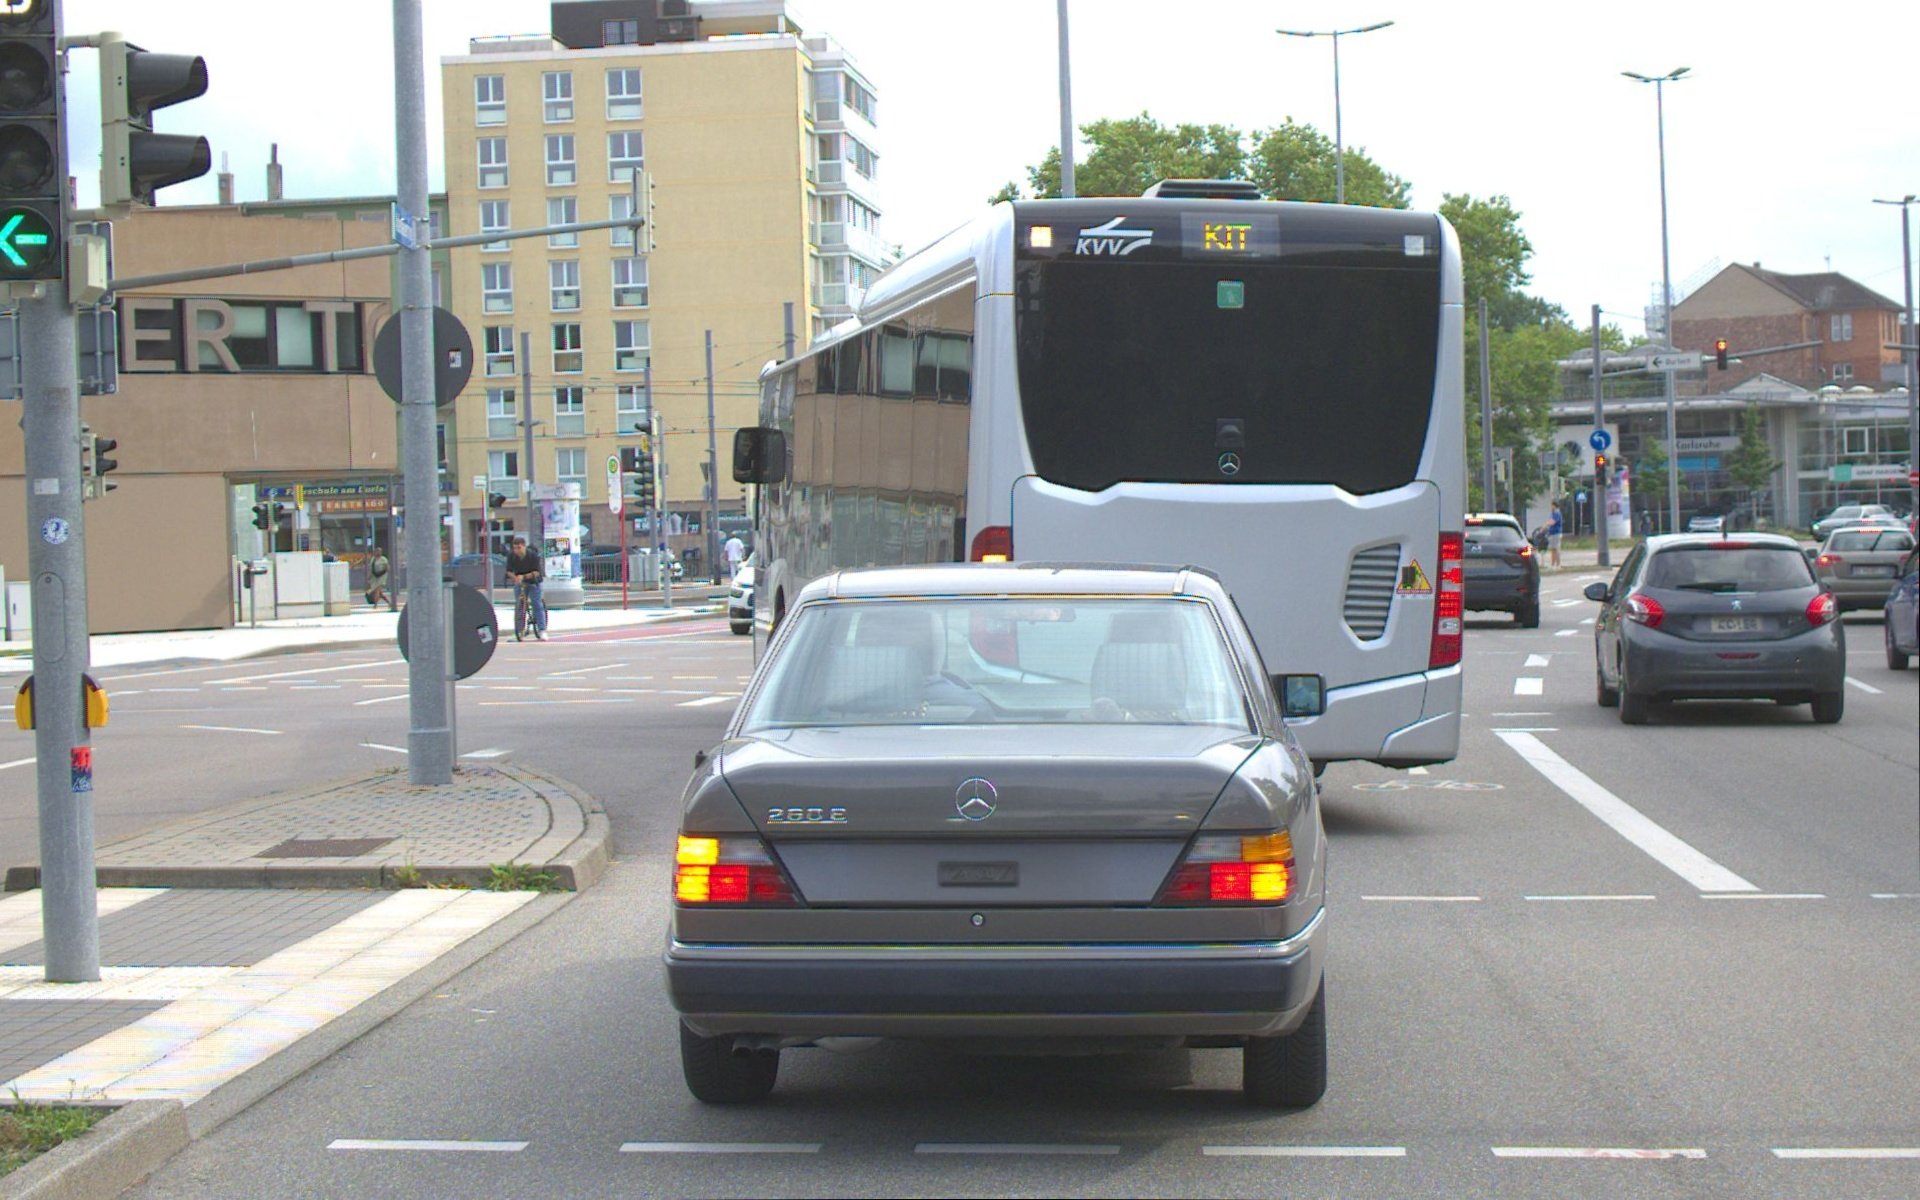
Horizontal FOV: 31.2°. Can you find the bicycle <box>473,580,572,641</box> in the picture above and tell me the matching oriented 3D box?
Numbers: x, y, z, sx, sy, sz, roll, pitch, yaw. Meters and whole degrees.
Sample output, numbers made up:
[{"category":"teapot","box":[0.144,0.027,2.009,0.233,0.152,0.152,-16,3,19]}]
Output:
[{"category":"bicycle","box":[-6.516,0.144,51.359,0.862,0.873,2.518,0,1,8]}]

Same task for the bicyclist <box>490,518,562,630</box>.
[{"category":"bicyclist","box":[-6.498,-0.388,51.476,0.867,1.663,0.881,0,1,7]}]

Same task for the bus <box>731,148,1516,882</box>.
[{"category":"bus","box":[0.347,-0.481,23.690,2.704,3.426,14.187,-3,1,-8]}]

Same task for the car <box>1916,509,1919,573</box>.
[{"category":"car","box":[22.409,-1.314,77.127,1.705,1.415,3.697,0,1,18]}]

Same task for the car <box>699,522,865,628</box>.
[{"category":"car","box":[-2.818,-0.412,55.466,1.994,1.645,4.289,0,1,7]}]

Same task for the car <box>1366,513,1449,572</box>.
[{"category":"car","box":[12.913,-1.650,99.090,1.994,1.645,4.510,0,1,12]}]

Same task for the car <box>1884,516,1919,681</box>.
[{"category":"car","box":[10.027,-0.037,33.429,1.859,1.527,4.000,0,1,13]}]

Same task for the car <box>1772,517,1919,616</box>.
[{"category":"car","box":[13.231,-0.505,51.121,2.134,1.415,3.698,0,1,15]}]

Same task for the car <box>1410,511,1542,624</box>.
[{"category":"car","box":[7.567,-0.488,50.664,1.835,1.609,3.545,0,1,7]}]

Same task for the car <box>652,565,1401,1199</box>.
[{"category":"car","box":[0.077,0.641,9.989,1.695,1.475,4.416,0,1,-2]}]

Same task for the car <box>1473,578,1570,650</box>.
[{"category":"car","box":[11.628,0.268,71.366,1.711,1.415,3.999,0,1,5]}]

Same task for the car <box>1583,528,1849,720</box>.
[{"category":"car","box":[5.949,0.148,27.419,1.711,1.415,3.999,0,1,7]}]
